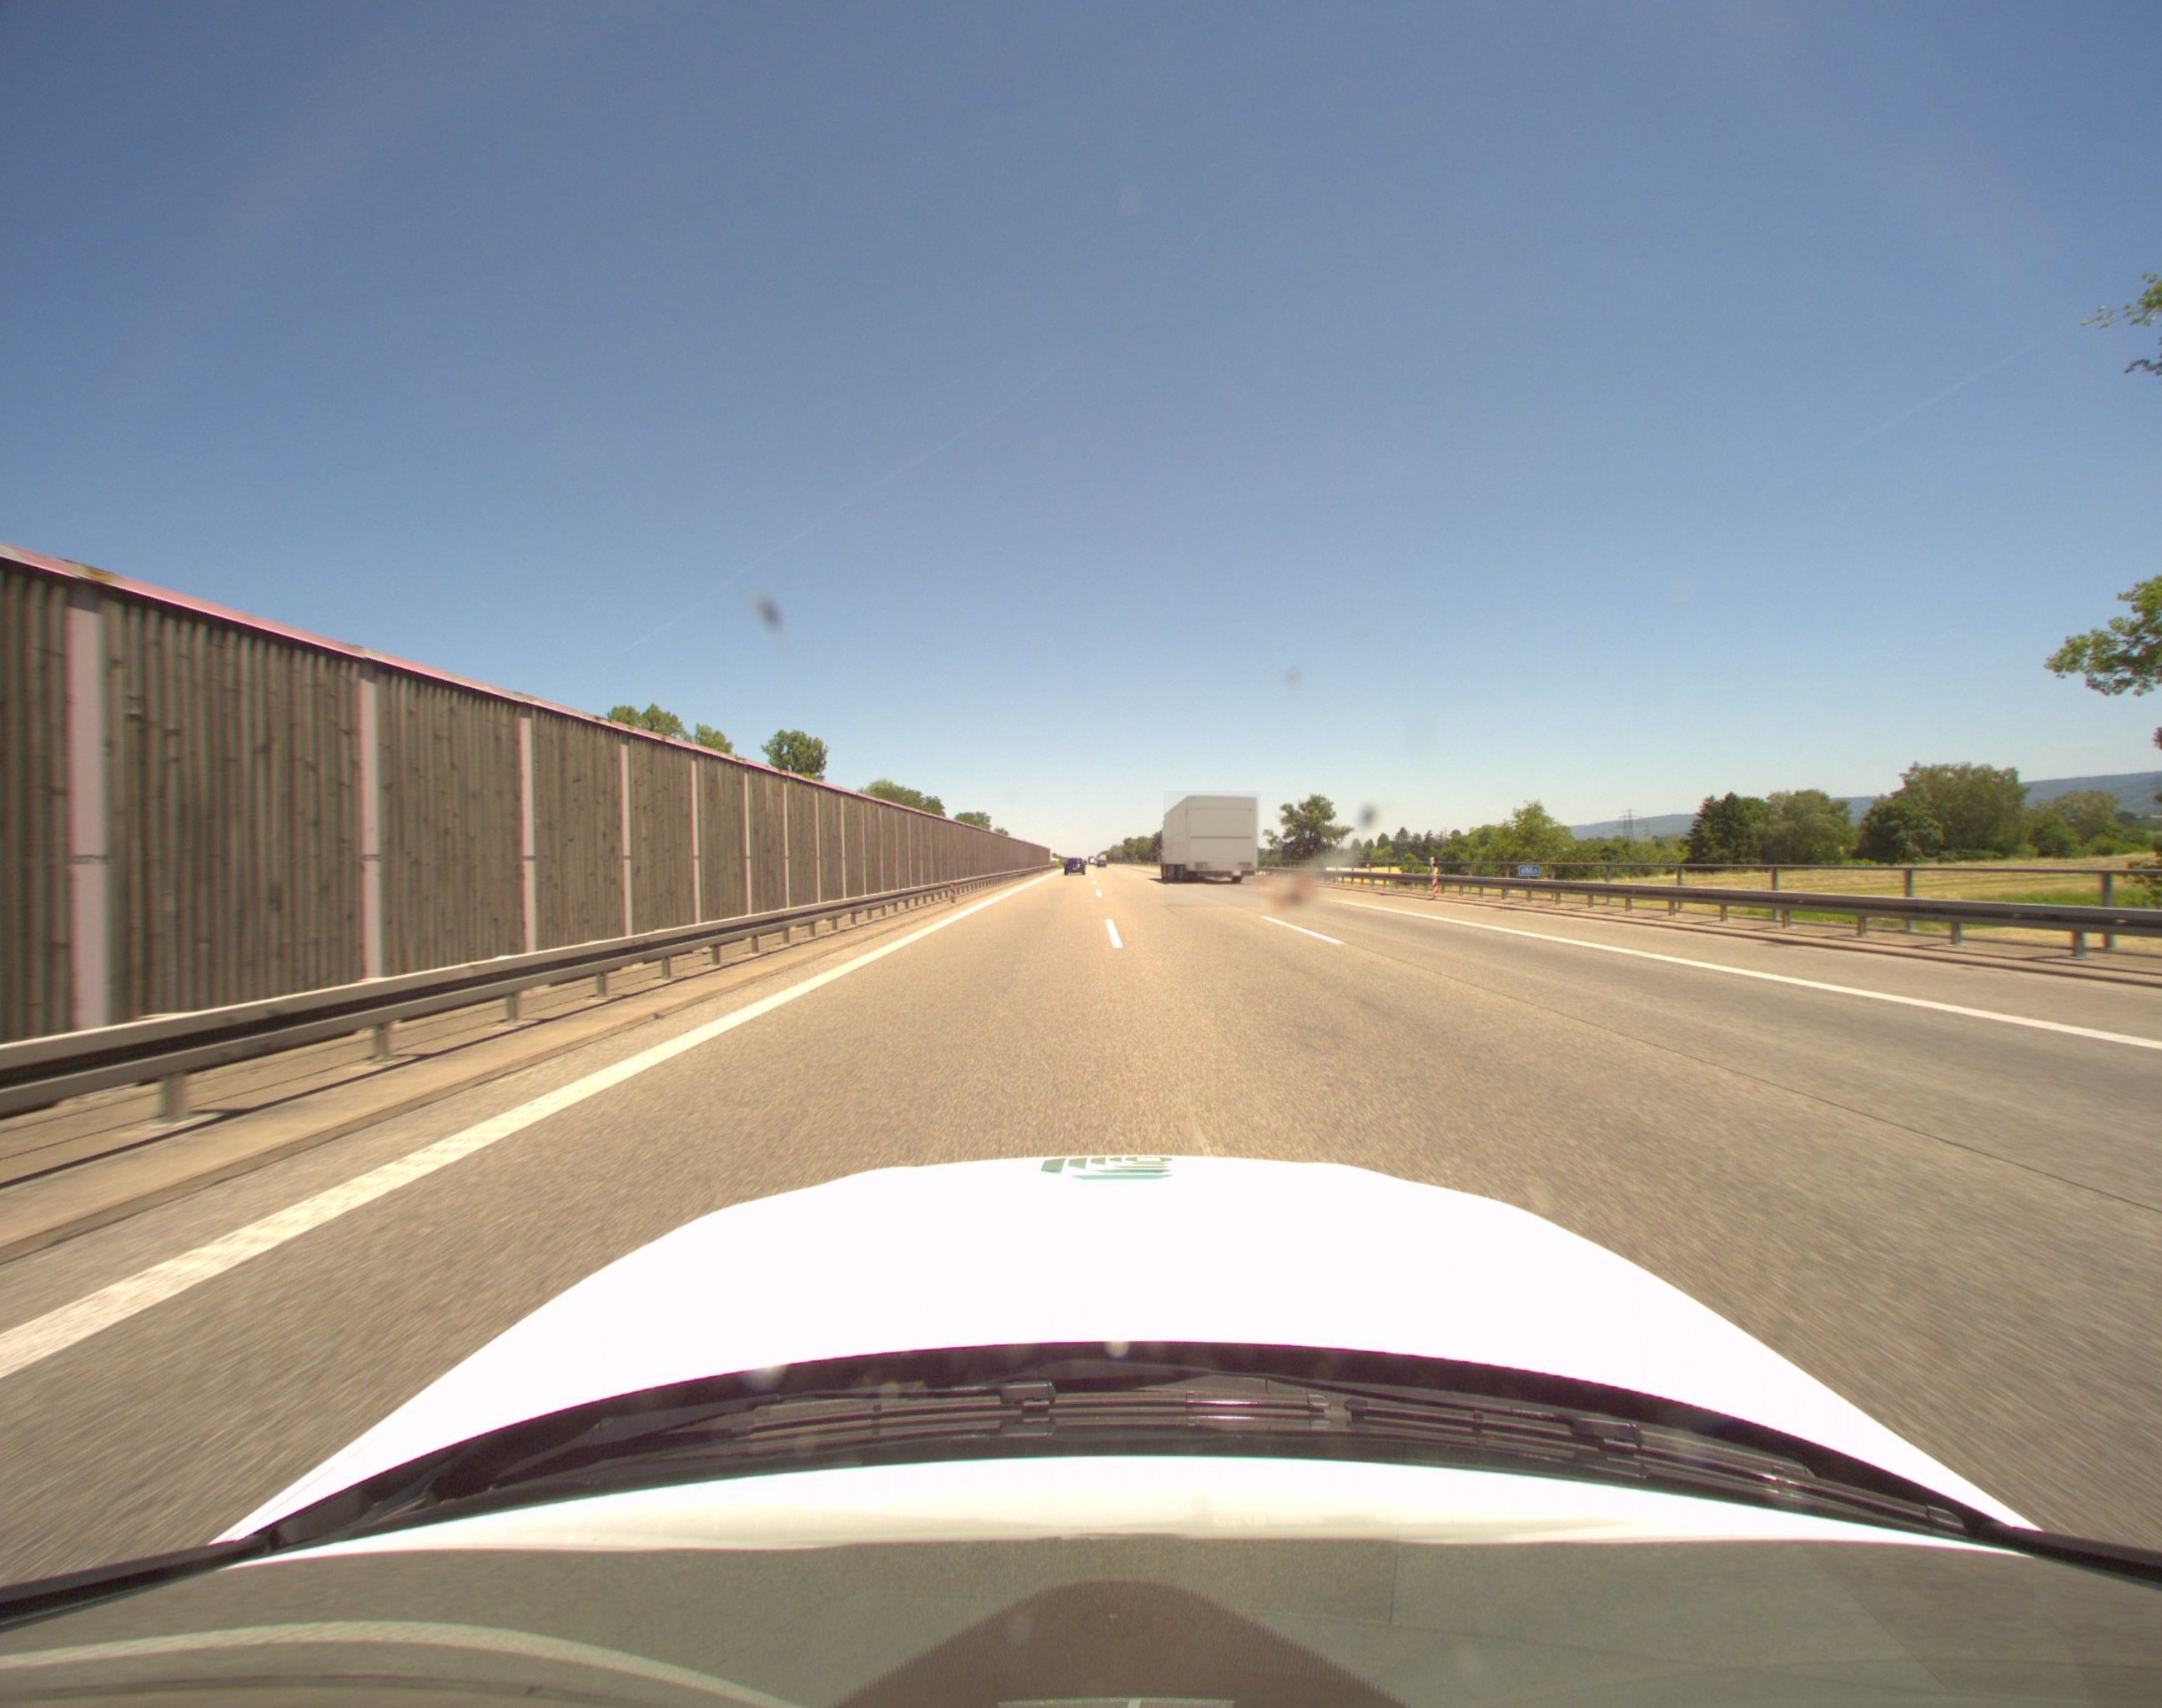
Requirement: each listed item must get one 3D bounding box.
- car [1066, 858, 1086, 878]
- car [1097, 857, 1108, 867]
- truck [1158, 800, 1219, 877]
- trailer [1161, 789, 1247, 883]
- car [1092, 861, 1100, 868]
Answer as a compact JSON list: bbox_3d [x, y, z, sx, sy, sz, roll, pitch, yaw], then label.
[{"bbox_3d":[-0.490,1.325,77.652,1.874,1.792,3.998,-1,0,-1],"label":"car"},{"bbox_3d":[3.805,1.421,146.360,1.896,1.584,4.304,-2,-1,1],"label":"car"},{"bbox_3d":[7.146,-0.982,55.174,3.223,4.889,6.973,-1,0,1],"label":"truck"},{"bbox_3d":[7.036,-0.929,49.060,3.258,4.837,14.031,-1,0,1],"label":"trailer"},{"bbox_3d":[3.556,2.456,195.836,1.896,1.584,4.304,-2,-1,1],"label":"car"}]
